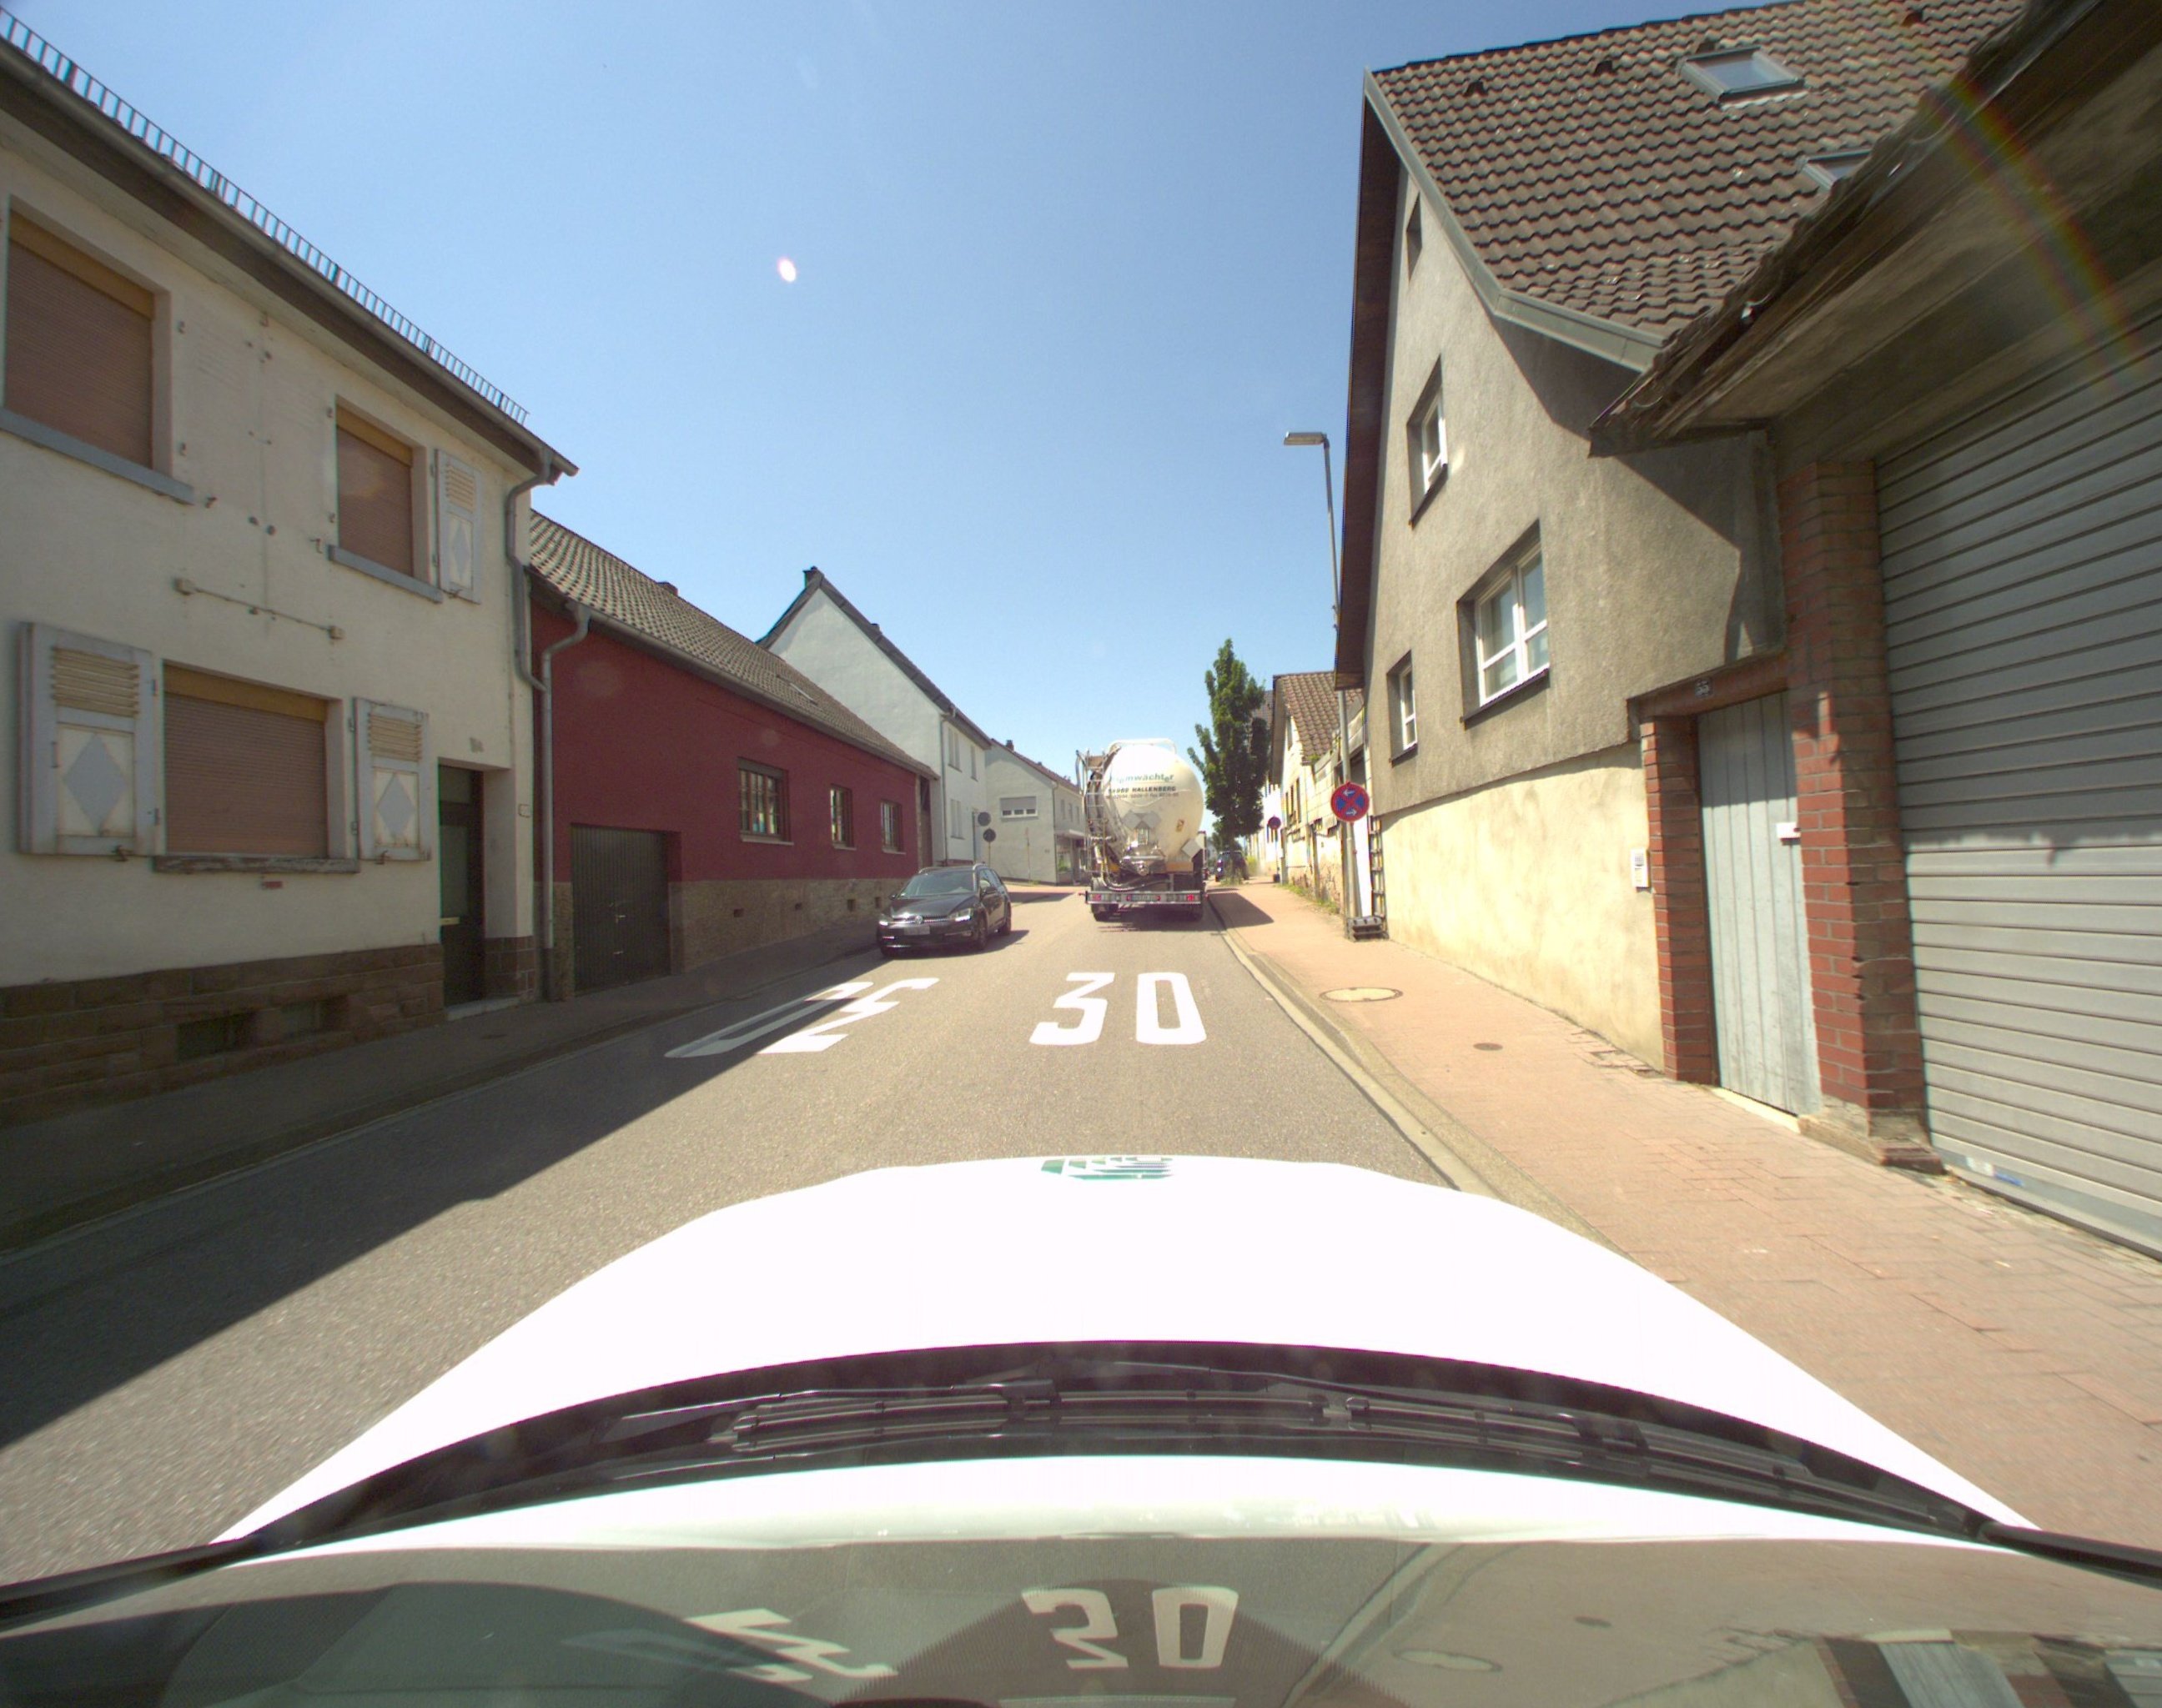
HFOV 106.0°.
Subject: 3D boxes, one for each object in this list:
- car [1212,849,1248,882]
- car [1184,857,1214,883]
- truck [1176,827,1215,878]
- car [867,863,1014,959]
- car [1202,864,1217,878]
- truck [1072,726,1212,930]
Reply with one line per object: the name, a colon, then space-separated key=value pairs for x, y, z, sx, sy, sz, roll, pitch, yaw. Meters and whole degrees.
car: x=8.291 y=0.618 z=45.393 sx=1.791 sy=1.614 sz=4.561 roll=-5 pitch=-1 yaw=10
car: x=7.862 y=1.071 z=54.016 sx=1.690 sy=1.447 sz=4.849 roll=-6 pitch=-2 yaw=10
truck: x=9.920 y=-0.140 z=70.496 sx=2.946 sy=4.069 sz=9.304 roll=-2 pitch=0 yaw=8
car: x=-2.431 y=0.946 z=15.201 sx=1.687 sy=1.409 sz=4.204 roll=-4 pitch=0 yaw=4
car: x=19.351 y=2.549 z=122.765 sx=1.935 sy=1.970 sz=4.795 roll=-4 pitch=-2 yaw=8
truck: x=1.674 y=-0.484 z=20.081 sx=2.718 sy=3.960 sz=8.157 roll=-1 pitch=0 yaw=7
